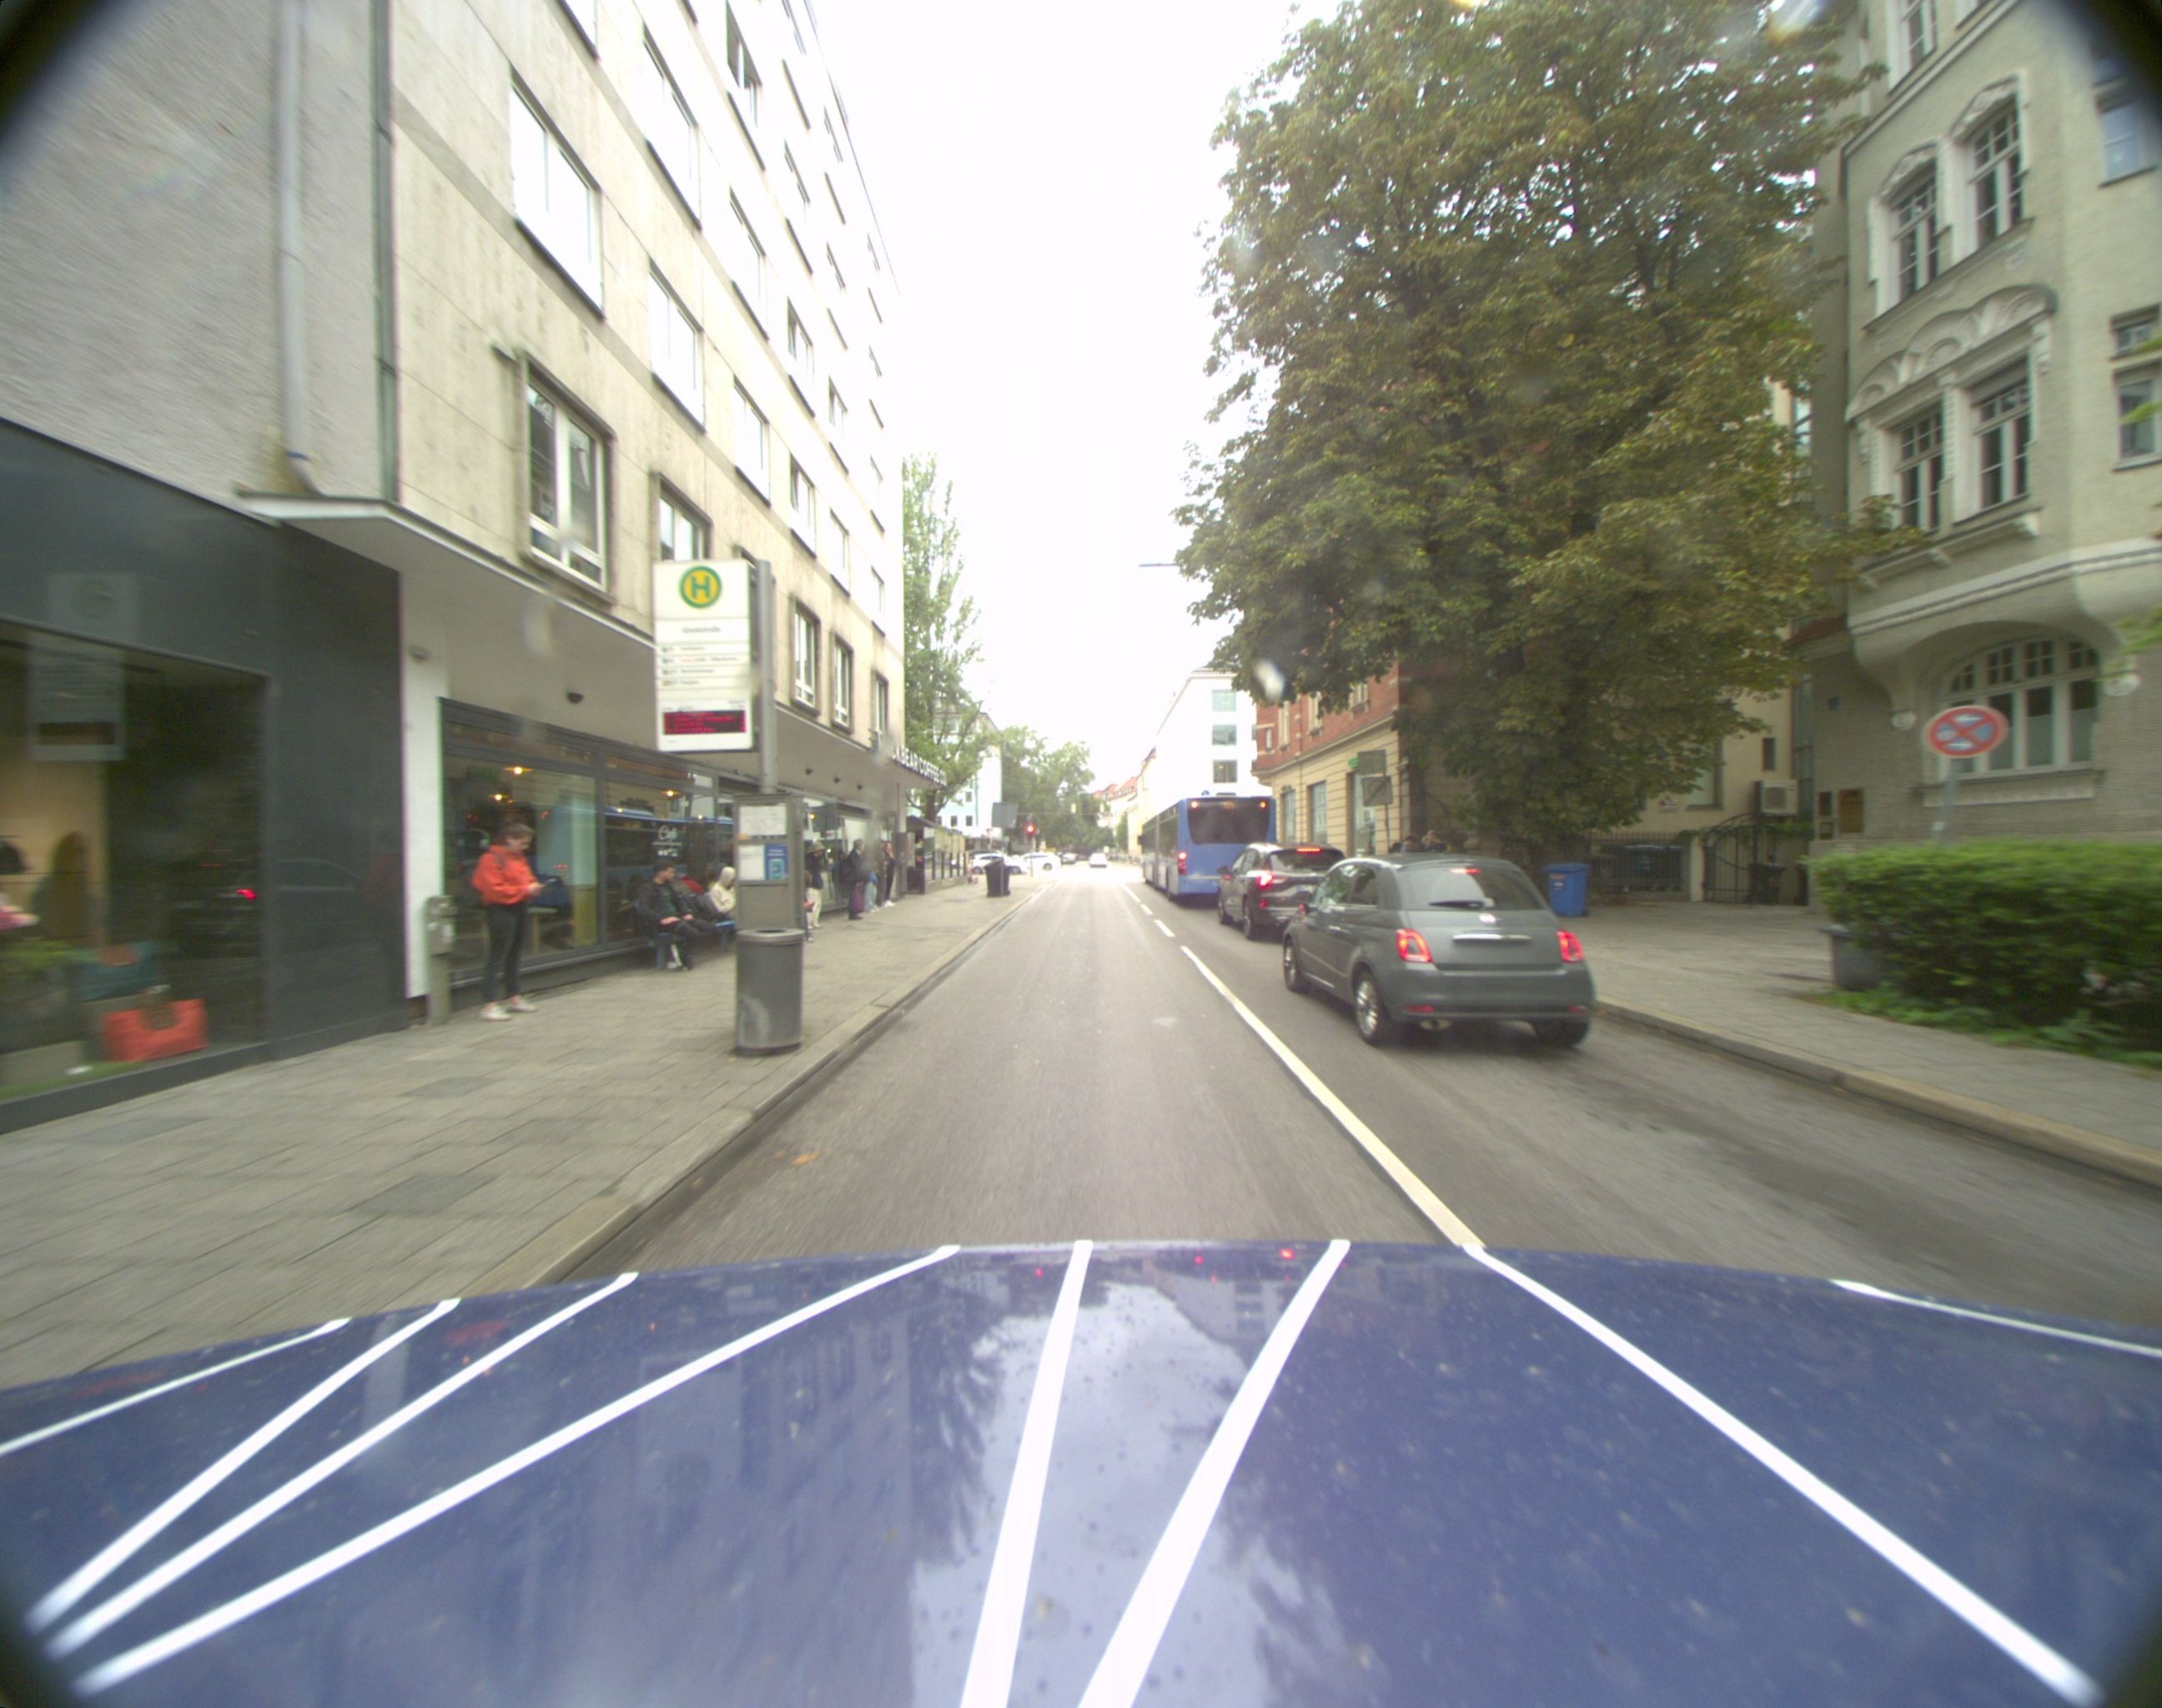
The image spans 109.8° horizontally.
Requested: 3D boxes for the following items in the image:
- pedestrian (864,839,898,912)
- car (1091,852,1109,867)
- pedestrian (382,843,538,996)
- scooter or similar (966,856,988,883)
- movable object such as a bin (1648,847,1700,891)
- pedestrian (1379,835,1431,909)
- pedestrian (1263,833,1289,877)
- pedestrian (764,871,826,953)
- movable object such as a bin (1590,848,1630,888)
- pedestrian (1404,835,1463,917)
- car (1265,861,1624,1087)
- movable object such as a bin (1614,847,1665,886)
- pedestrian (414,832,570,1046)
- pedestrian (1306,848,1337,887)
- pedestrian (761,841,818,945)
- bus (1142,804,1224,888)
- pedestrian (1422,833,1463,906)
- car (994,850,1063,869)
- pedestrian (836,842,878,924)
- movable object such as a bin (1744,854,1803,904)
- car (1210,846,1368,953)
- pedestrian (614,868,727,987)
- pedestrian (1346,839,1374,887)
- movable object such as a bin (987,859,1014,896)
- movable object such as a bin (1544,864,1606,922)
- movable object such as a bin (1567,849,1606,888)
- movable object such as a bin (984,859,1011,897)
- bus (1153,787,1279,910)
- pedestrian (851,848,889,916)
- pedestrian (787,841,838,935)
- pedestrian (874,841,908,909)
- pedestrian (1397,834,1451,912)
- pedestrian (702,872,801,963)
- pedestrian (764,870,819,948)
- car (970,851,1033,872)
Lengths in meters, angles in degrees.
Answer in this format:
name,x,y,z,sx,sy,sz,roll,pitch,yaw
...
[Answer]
name,x,y,z,sx,sy,sz,roll,pitch,yaw
pedestrian,-5.083,0.530,19.351,0.659,1.812,0.696,0,1,2
car,2.124,0.577,85.067,1.927,1.608,3.999,-1,1,1
pedestrian,-5.903,0.587,7.276,0.772,1.380,0.843,0,1,0
scooter or similar,-4.902,0.708,35.738,0.563,1.234,1.445,-1,1,11
movable object such as a bin,16.814,0.413,21.562,0.856,1.204,0.813,-1,1,5
pedestrian,7.816,0.426,18.359,0.875,1.735,0.910,-1,1,1
pedestrian,8.915,0.040,34.766,0.832,2.002,0.778,-2,2,-42
pedestrian,-4.461,0.888,11.881,0.709,1.230,0.585,0,1,2
movable object such as a bin,15.067,0.391,21.659,0.623,1.080,0.813,-1,1,5
pedestrian,7.692,0.460,16.612,0.910,1.735,0.847,-1,1,1
car,2.926,0.837,7.065,1.588,1.471,3.782,0,1,1
movable object such as a bin,15.899,0.343,21.640,0.856,1.085,0.813,-1,1,5
pedestrian,-4.975,0.682,6.469,0.704,1.723,0.746,0,1,2
pedestrian,8.551,0.469,27.028,0.830,1.333,0.754,0,1,-1
pedestrian,-4.961,0.641,12.961,0.659,1.723,0.684,0,1,2
bus,4.129,-0.321,32.541,2.586,3.083,9.108,0,1,2
pedestrian,8.803,0.365,18.472,0.784,1.735,0.877,0,1,33
car,-4.226,0.447,61.695,5.440,1.420,2.000,0,1,0
pedestrian,-4.776,0.609,16.264,0.659,1.723,0.696,0,1,2
movable object such as a bin,15.586,0.546,17.123,0.623,1.080,0.813,-1,1,5
car,3.552,0.677,13.808,1.772,1.635,4.273,0,1,1
pedestrian,-4.910,0.851,9.151,0.862,1.344,0.862,0,1,2
pedestrian,9.071,0.280,24.698,0.625,1.529,0.754,0,1,-1
movable object such as a bin,-2.789,0.802,26.336,0.877,1.243,0.798,0,1,-4
movable object such as a bin,9.735,0.762,14.996,0.813,1.080,0.623,-2,1,-8
movable object such as a bin,14.418,0.401,21.689,0.623,1.080,0.813,-1,1,5
movable object such as a bin,-2.798,0.801,25.492,0.877,1.243,0.798,0,1,-4
bus,3.821,-0.175,23.556,2.586,3.083,8.923,0,1,2
pedestrian,-5.029,0.656,18.135,0.659,1.584,0.696,0,1,2
pedestrian,-5.062,0.624,14.358,0.659,1.723,0.778,0,1,2
pedestrian,-5.030,0.544,20.119,0.659,1.773,0.771,0,1,2
pedestrian,7.873,0.430,17.468,0.875,1.735,0.786,-1,1,1
pedestrian,-4.676,0.886,10.844,1.099,1.230,0.668,0,1,2
pedestrian,-4.705,0.890,12.390,0.681,1.230,0.495,0,1,2
car,-5.559,0.529,53.496,4.168,1.420,2.000,0,1,0
